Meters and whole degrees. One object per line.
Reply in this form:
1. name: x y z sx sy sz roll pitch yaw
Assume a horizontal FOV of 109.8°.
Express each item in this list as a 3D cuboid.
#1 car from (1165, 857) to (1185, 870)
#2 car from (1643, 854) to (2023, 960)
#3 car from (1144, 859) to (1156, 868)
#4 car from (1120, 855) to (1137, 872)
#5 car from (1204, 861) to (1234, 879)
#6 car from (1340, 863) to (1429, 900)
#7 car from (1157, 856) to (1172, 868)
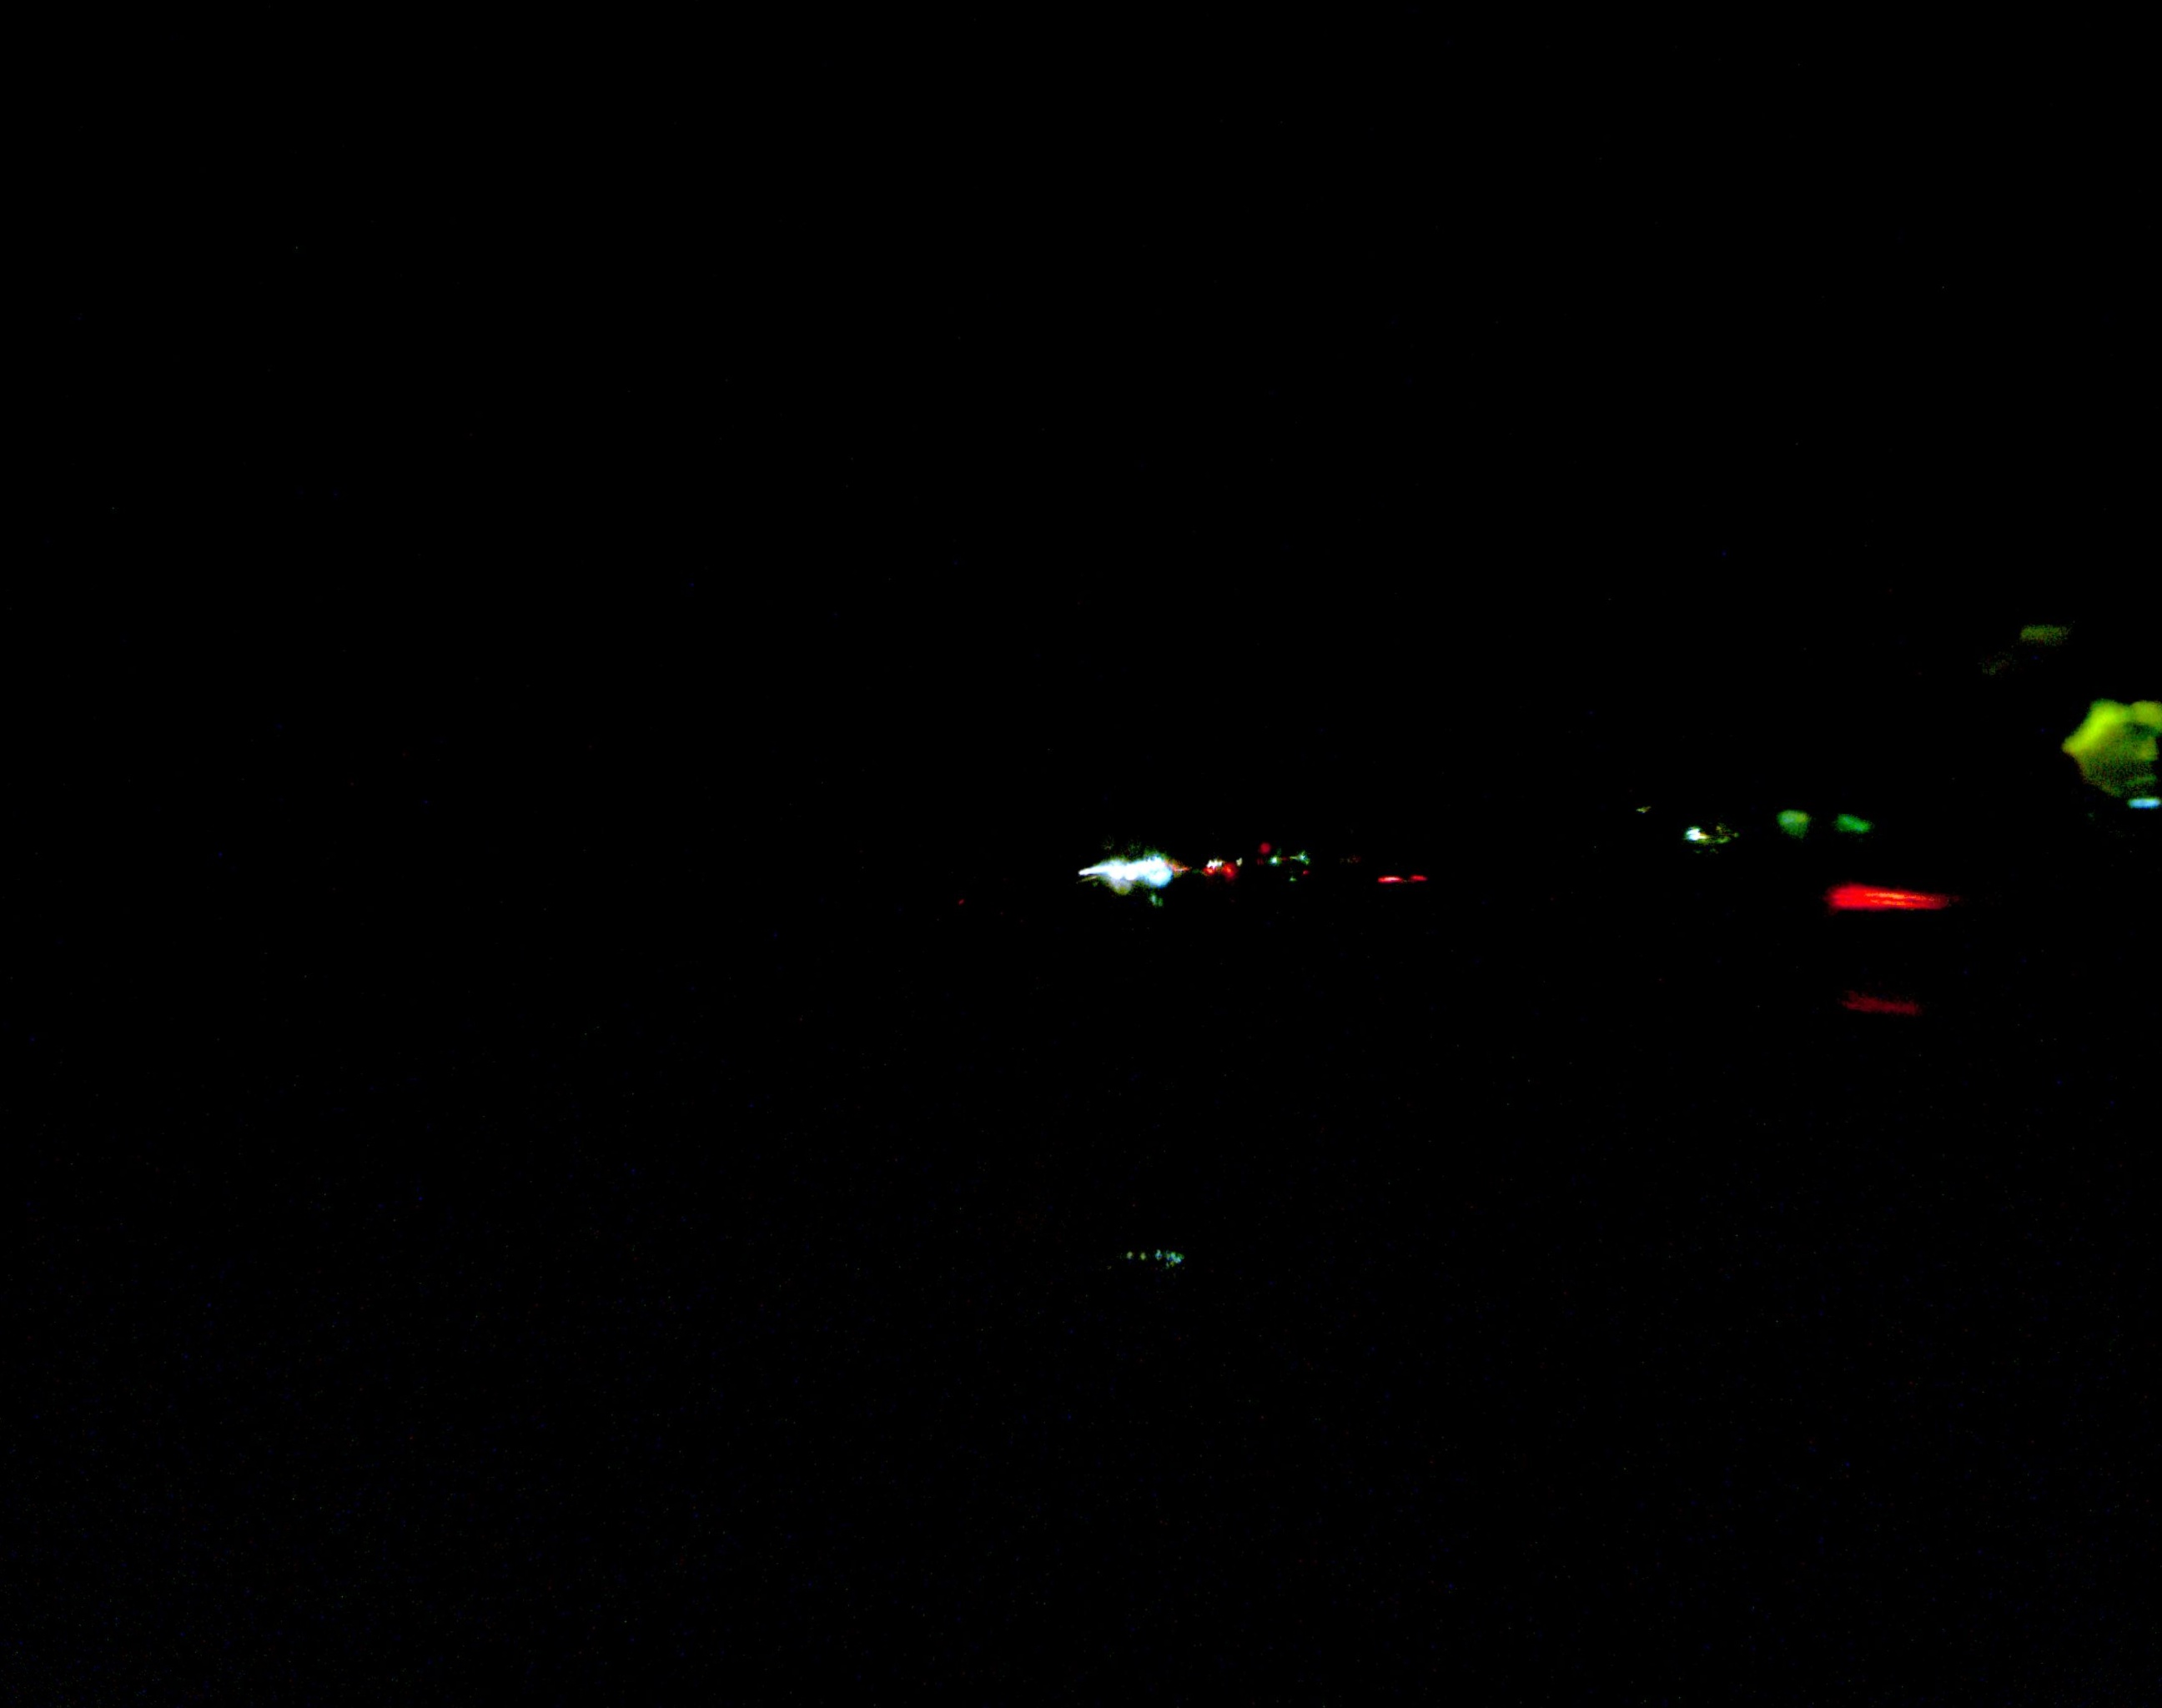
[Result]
1. car: 11.526 1.151 93.345 1.837 1.433 4.491 -1 0 1
2. car: 12.523 0.788 13.216 1.999 1.498 4.556 -1 -1 -2
3. car: 12.577 1.737 139.110 1.997 1.721 4.002 -1 0 8
4. car: 5.881 1.160 93.740 1.998 2.002 4.001 -1 0 5
5. car: 11.489 1.309 63.548 1.795 1.432 3.855 -1 0 -1
6. car: 12.525 1.094 31.657 1.881 1.389 4.248 0 0 -3
7. car: 13.298 1.255 121.448 2.203 1.735 4.526 -1 0 3
